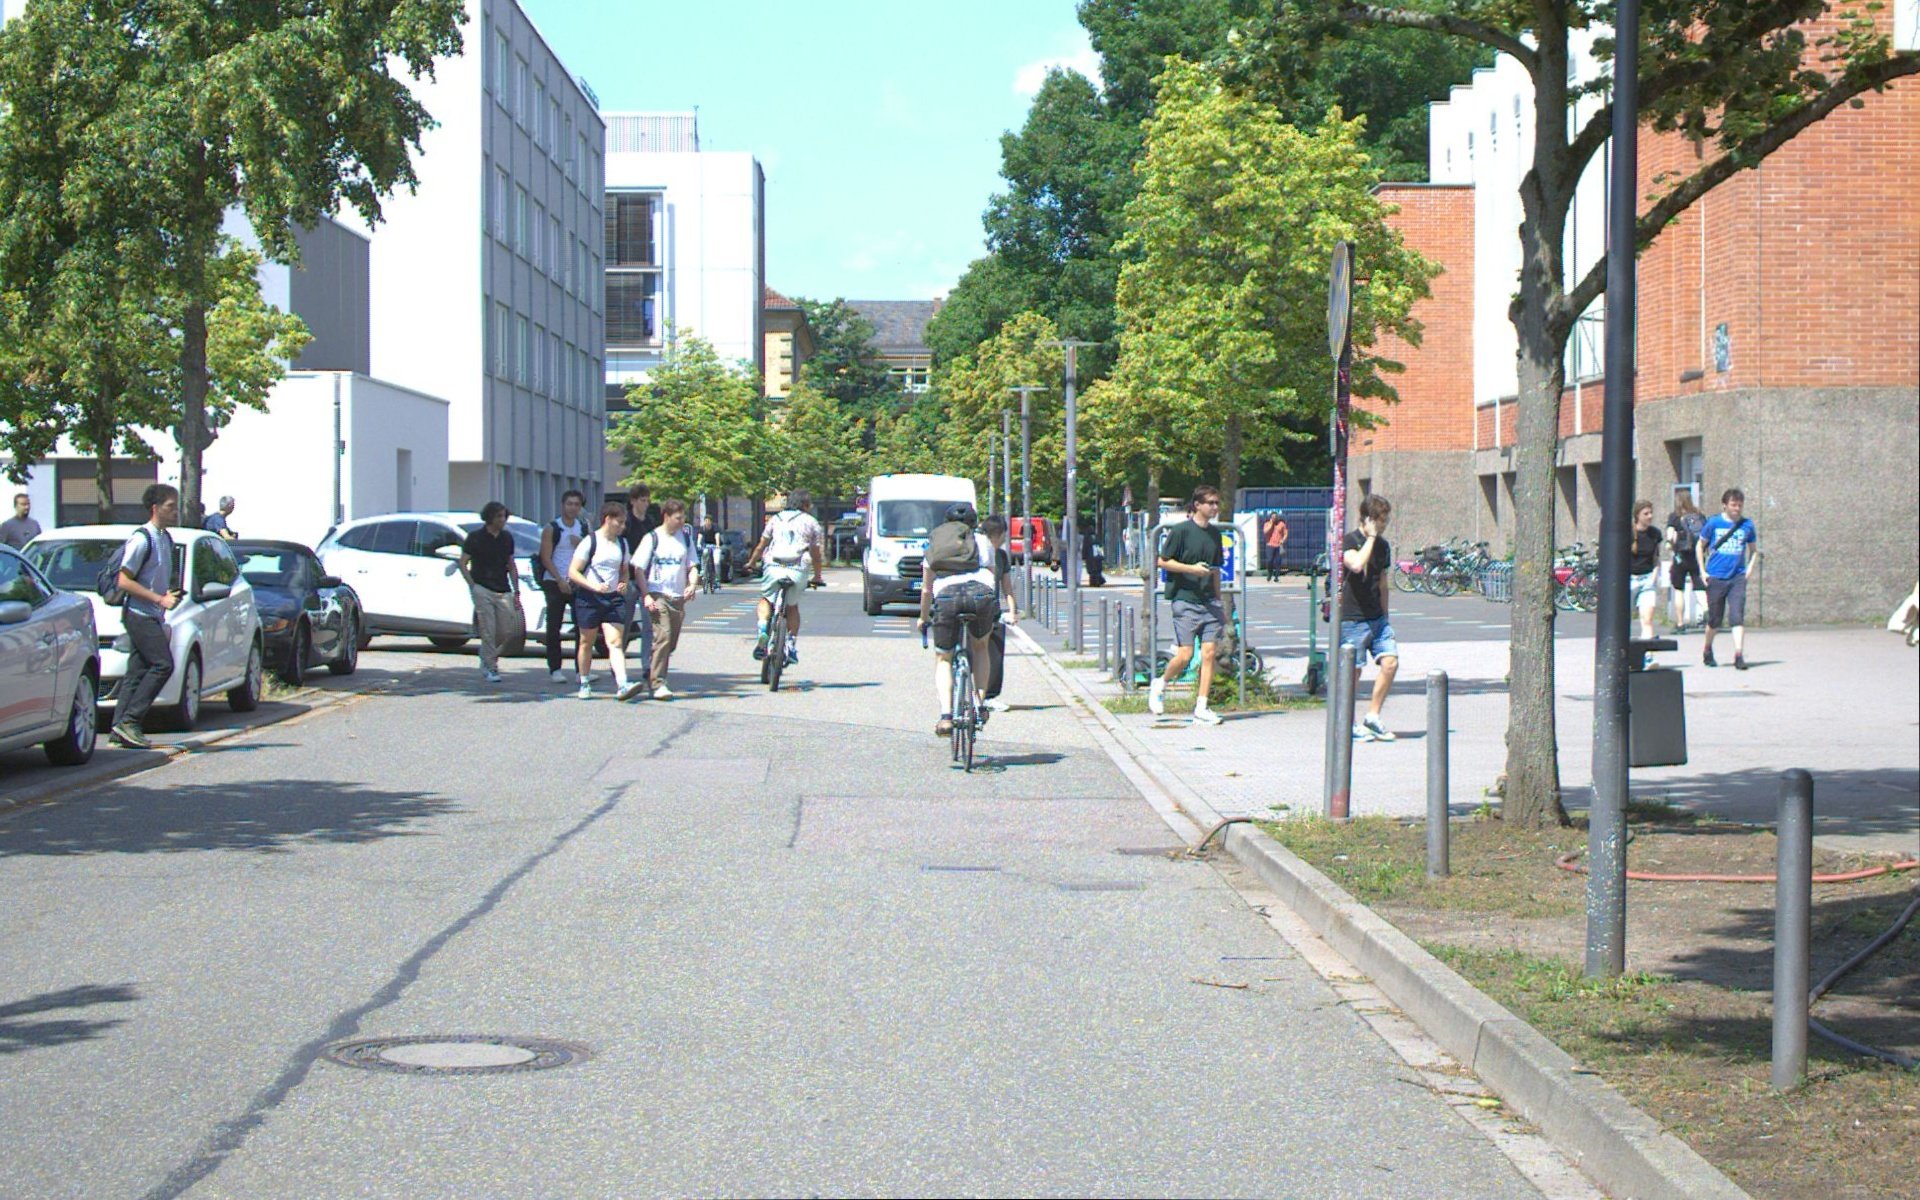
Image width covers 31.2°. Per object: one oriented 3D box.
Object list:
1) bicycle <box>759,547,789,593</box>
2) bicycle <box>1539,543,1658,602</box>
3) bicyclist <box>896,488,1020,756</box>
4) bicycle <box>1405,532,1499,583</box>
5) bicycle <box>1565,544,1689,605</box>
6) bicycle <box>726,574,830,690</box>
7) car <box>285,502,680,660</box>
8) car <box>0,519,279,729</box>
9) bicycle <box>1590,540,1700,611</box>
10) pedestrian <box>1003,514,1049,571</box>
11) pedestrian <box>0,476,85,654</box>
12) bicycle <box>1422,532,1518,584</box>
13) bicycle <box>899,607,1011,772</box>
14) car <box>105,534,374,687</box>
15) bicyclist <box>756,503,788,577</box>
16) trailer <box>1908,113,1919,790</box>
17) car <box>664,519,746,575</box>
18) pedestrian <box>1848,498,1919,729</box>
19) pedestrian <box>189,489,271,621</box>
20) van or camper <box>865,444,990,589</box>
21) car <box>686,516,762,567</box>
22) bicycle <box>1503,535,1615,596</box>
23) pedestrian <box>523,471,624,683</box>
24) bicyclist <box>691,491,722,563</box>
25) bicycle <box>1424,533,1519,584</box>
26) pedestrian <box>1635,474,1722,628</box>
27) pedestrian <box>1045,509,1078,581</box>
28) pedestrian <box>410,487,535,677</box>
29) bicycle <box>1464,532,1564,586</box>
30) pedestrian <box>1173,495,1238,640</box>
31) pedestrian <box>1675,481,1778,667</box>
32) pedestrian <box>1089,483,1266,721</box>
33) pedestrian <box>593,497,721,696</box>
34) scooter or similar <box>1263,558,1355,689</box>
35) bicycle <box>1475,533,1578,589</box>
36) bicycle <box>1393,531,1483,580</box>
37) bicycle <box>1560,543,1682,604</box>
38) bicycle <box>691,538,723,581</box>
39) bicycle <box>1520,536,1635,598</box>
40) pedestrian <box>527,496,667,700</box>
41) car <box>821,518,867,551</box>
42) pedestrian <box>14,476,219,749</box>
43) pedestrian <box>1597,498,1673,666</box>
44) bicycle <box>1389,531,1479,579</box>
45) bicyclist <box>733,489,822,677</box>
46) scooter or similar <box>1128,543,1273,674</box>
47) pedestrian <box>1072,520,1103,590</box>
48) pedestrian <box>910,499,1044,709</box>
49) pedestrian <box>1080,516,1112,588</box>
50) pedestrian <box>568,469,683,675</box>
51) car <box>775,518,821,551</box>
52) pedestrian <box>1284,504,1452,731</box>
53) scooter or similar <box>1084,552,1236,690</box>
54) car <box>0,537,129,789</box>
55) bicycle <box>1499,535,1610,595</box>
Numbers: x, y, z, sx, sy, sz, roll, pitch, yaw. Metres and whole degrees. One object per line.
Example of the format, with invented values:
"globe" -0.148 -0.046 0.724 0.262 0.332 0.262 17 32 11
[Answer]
"bicycle" -4.270 -0.687 78.745 0.677 0.961 2.004 0 3 -4
"bicycle" 10.419 -0.455 56.153 1.809 0.909 0.560 -2 1 -1
"bicyclist" -0.021 0.126 22.625 0.717 1.656 1.095 3 3 -1
"bicycle" 10.093 -0.880 70.511 1.809 0.981 0.560 -2 1 -1
"bicycle" 10.458 -0.404 53.894 1.809 0.909 0.560 -1 1 -1
"bicycle" -1.712 0.285 32.617 0.808 0.999 2.124 1 2 1
"car" -5.544 -0.235 39.640 4.516 1.613 1.919 3 0 40
"car" -6.241 0.121 25.540 1.662 1.407 3.807 1 1 -1
"bicycle" 10.347 -0.374 51.960 1.535 1.029 0.560 -1 1 -1
"pedestrian" 2.421 -2.136 126.568 1.499 1.989 1.646 -3 2 -2
"pedestrian" -10.619 -0.393 38.548 1.015 1.897 1.178 5 -2 -41
"bicycle" 10.227 -0.841 68.978 1.809 0.981 0.560 -2 1 -1
"bicycle" -0.041 0.572 22.903 0.706 0.990 1.911 1 2 -1
"car" -6.604 0.051 31.884 1.645 1.296 3.928 -1 1 0
"bicyclist" -4.312 -1.373 78.900 0.667 1.676 0.993 -1 1 -5
"trailer" 5.553 -0.514 11.689 2.691 3.041 6.258 -1 1 -2
"car" -7.195 -1.511 97.270 1.795 1.525 4.000 0 1 3
"pedestrian" 7.084 0.079 25.149 0.875 1.632 0.949 -2 2 -1
"pedestrian" -9.929 -0.614 46.782 0.982 1.779 0.669 0 0 -3
"van or camper" -0.530 -1.440 60.669 1.993 2.437 4.569 -1 0 2
"car" -7.162 -1.800 104.681 1.795 1.525 4.000 0 1 3
"bicycle" 10.317 -0.595 59.240 1.809 0.981 0.560 -2 1 -1
"pedestrian" -3.664 -0.215 32.590 0.616 1.973 0.829 -1 0 -32
"bicyclist" -5.754 -1.656 78.050 0.643 1.596 0.909 -1 1 -3
"bicycle" 10.380 -0.837 69.811 1.809 0.981 0.560 -2 1 -1
"pedestrian" 8.789 -0.602 42.094 0.790 1.853 1.116 -1 1 -2
"pedestrian" 2.619 -1.427 88.768 0.790 1.853 1.243 0 1 1
"pedestrian" -4.671 -0.174 32.957 0.802 1.766 0.853 2 1 22
"bicycle" 10.703 -0.791 66.445 1.809 0.981 0.560 -2 1 -1
"pedestrian" 2.923 -0.395 41.056 0.702 1.688 0.962 0 3 0
"pedestrian" 7.585 -0.268 34.037 0.708 1.781 0.753 -3 3 -11
"pedestrian" 1.731 -0.003 27.398 1.115 1.853 0.852 2 2 44
"pedestrian" -2.680 -0.047 30.426 0.908 1.733 0.677 1 2 38
"scooter or similar" 3.210 0.208 31.529 0.649 1.156 1.264 0 1 15
"bicycle" 10.618 -0.735 64.494 1.809 0.981 0.560 -2 1 -1
"bicycle" 10.121 -0.944 72.848 1.809 0.981 0.560 -2 1 -1
"bicycle" 10.521 -0.425 54.750 1.809 0.909 0.560 -1 1 -1
"bicycle" -5.728 -0.920 77.767 0.677 0.961 2.003 0 1 -3
"bicycle" 10.429 -0.557 58.110 1.809 0.981 0.560 -2 1 -1
"pedestrian" -3.166 -0.033 29.964 0.982 1.733 0.699 2 2 36
"car" -5.498 -3.103 163.142 1.795 1.525 4.000 0 1 3
"pedestrian" -5.501 0.080 22.453 1.105 1.710 0.710 2 0 -1
"pedestrian" 6.642 -0.185 33.824 0.501 1.625 0.571 -3 2 -11
"bicycle" 10.176 -0.971 73.811 1.809 0.981 0.560 -2 1 -1
"bicyclist" -1.723 -0.171 32.521 0.771 1.750 0.848 0 1 1
"scooter or similar" 2.372 0.077 33.887 1.263 1.260 0.638 0 1 31
"pedestrian" 3.385 -1.195 91.248 0.790 1.853 1.026 0 1 1
"pedestrian" 0.143 0.017 29.642 0.701 1.713 0.994 -3 5 -35
"pedestrian" 3.509 -1.239 88.716 0.790 1.853 1.026 0 1 1
"pedestrian" -3.275 -0.277 33.662 0.827 1.973 0.691 2 1 22
"car" -7.722 -3.121 163.918 1.795 1.525 4.000 0 1 3
"pedestrian" 2.953 0.114 24.878 0.848 1.589 0.830 -3 2 -44
"scooter or similar" 1.875 0.189 32.314 1.263 1.260 0.649 0 1 31
"car" -6.107 0.325 19.465 1.725 1.339 4.165 2 1 1
"bicycle" 10.336 -0.614 59.802 1.809 0.981 0.560 -2 1 -1
